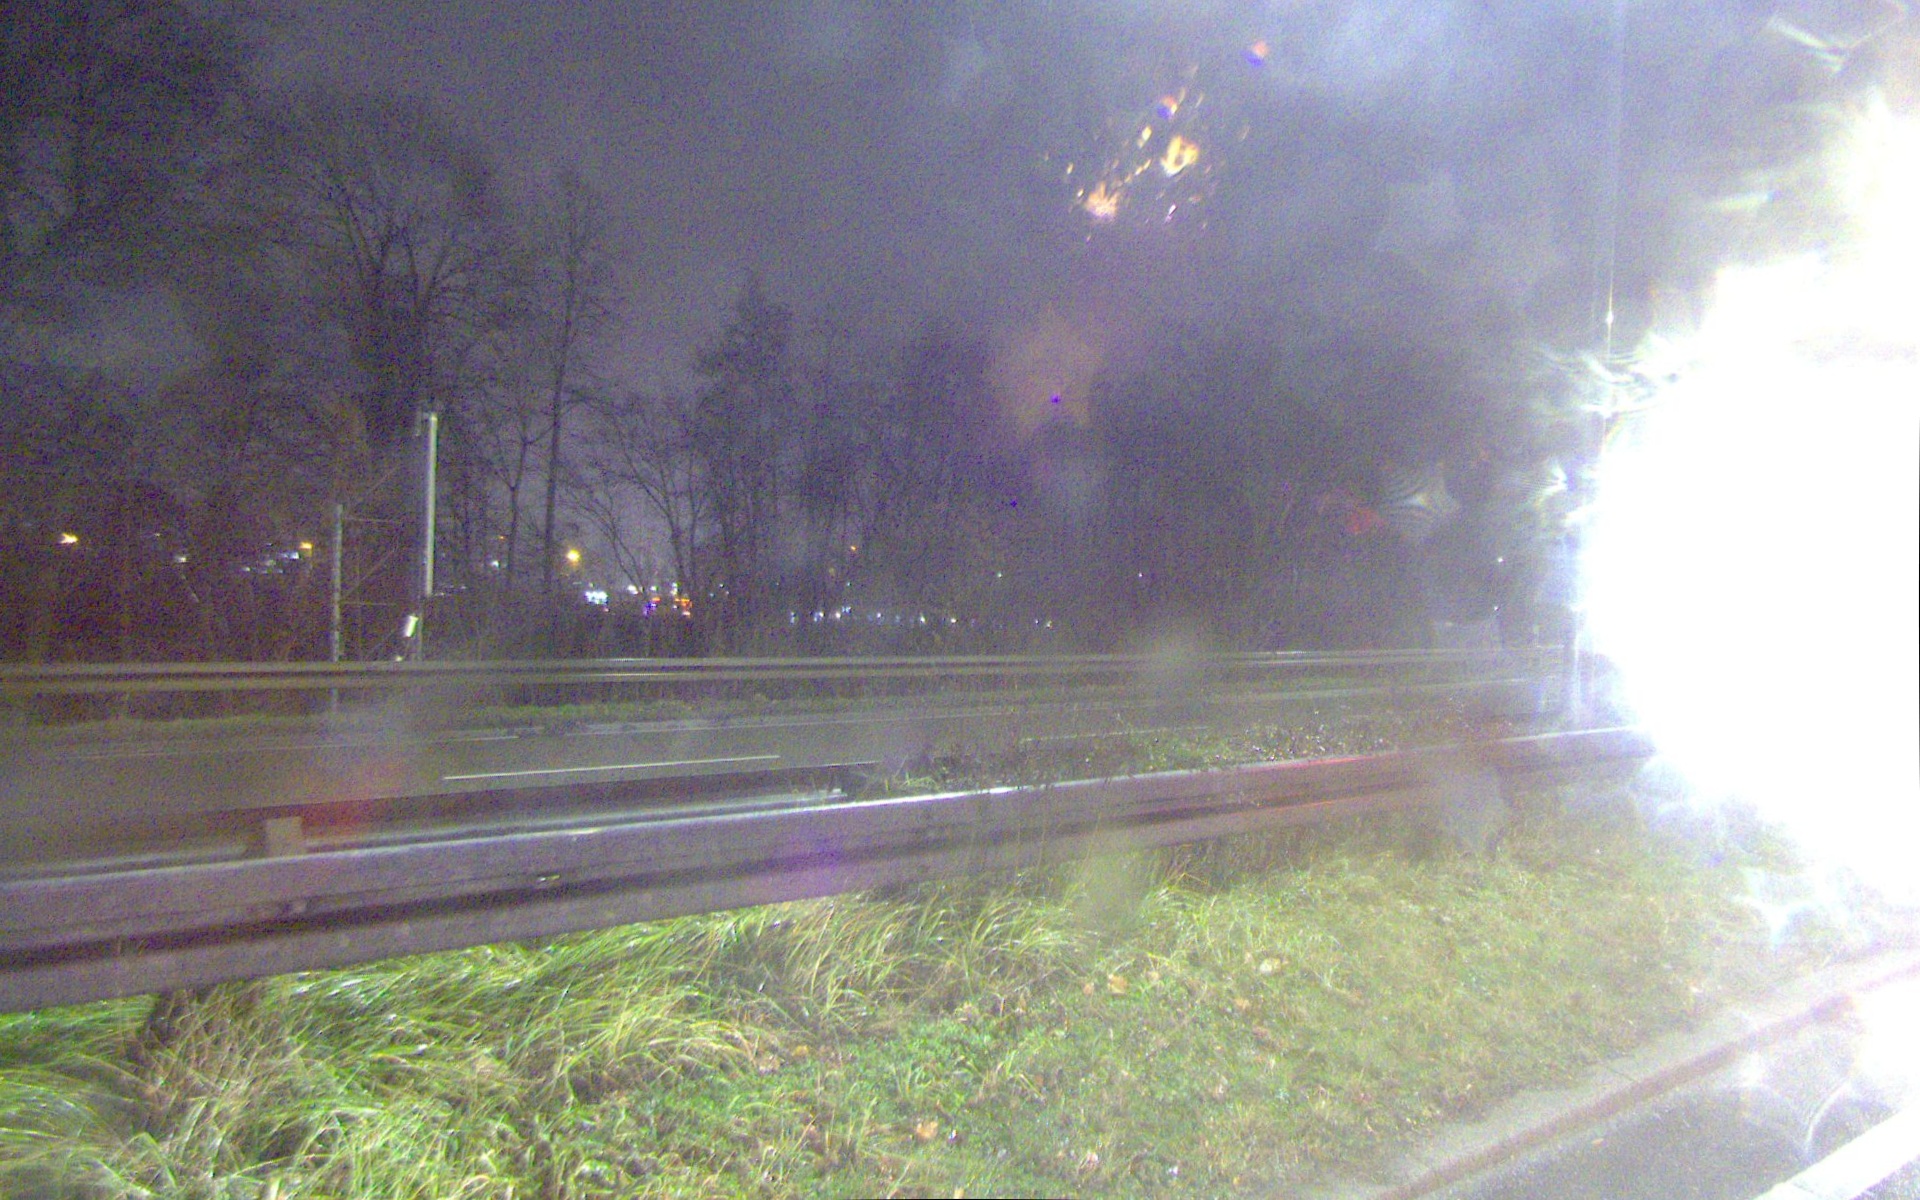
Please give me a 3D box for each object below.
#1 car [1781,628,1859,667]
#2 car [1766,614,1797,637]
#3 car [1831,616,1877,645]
[{"bbox_3d":[36.230,1.981,42.260,4.805,1.528,1.975,2,-2,-43],"label":"car"},{"bbox_3d":[62.954,1.913,76.990,1.744,1.653,4.232,1,0,38],"label":"car"},{"bbox_3d":[46.798,1.600,52.549,1.693,1.442,4.641,1,-1,43],"label":"car"}]
